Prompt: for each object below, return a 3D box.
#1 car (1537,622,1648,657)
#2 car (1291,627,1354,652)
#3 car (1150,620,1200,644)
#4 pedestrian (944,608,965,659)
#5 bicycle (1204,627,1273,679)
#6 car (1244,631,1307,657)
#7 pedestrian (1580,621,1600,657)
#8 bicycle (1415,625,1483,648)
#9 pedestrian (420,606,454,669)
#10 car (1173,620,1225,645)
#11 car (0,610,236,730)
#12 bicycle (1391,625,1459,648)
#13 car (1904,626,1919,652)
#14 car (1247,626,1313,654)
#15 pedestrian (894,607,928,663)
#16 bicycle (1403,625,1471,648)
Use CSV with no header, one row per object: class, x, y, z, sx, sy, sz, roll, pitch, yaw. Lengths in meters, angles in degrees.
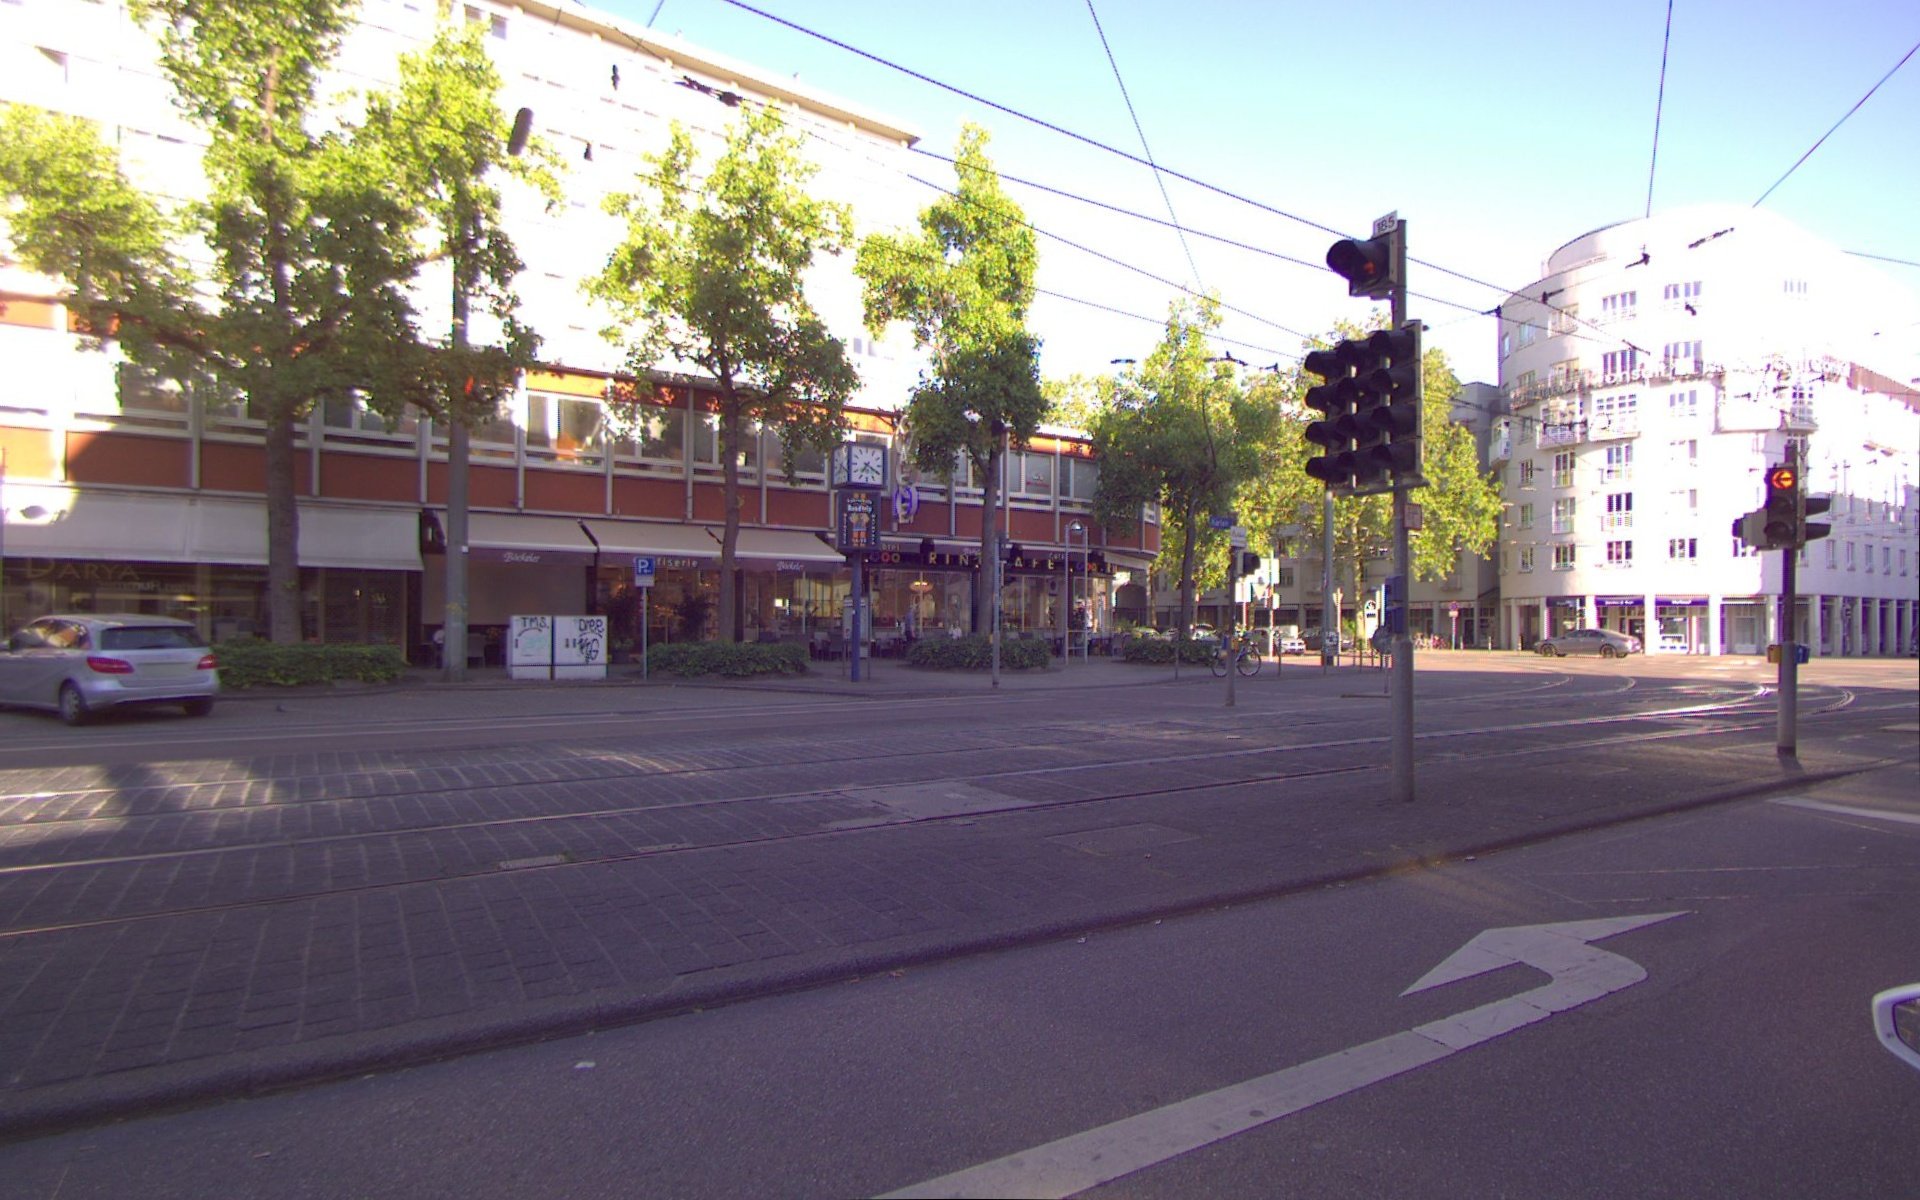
car,31.520,1.942,50.174,1.691,1.662,4.405,1,-2,-41
car,24.104,2.614,66.924,1.595,1.551,3.973,0,-1,-27
car,18.370,2.743,85.920,3.954,1.990,1.984,1,-1,-31
pedestrian,-0.199,1.141,34.967,0.590,1.745,0.647,0,1,-14
bicycle,7.647,1.440,27.539,1.884,1.345,0.667,1,2,-30
car,16.811,2.315,53.693,1.738,1.312,4.014,0,-2,-7
pedestrian,36.113,2.217,57.557,0.930,2.040,0.939,0,-1,30
bicycle,35.210,2.615,72.415,1.053,1.550,4.684,1,-2,-29
pedestrian,-13.503,0.963,25.925,0.699,1.584,0.867,1,-1,-33
car,19.852,2.702,83.410,3.954,1.990,1.984,1,-1,-31
car,-13.556,1.006,15.732,4.200,1.587,1.825,1,-1,26
bicycle,32.887,2.569,71.122,1.053,1.550,4.684,1,-2,-29
car,58.425,2.339,60.334,3.423,1.566,1.692,1,-2,-32
car,18.674,2.305,58.807,1.605,1.579,4.001,0,-2,-19
pedestrian,-1.565,1.098,32.022,0.866,1.745,0.700,0,1,-34
bicycle,33.917,2.575,71.587,1.053,1.550,4.684,1,-2,-29
